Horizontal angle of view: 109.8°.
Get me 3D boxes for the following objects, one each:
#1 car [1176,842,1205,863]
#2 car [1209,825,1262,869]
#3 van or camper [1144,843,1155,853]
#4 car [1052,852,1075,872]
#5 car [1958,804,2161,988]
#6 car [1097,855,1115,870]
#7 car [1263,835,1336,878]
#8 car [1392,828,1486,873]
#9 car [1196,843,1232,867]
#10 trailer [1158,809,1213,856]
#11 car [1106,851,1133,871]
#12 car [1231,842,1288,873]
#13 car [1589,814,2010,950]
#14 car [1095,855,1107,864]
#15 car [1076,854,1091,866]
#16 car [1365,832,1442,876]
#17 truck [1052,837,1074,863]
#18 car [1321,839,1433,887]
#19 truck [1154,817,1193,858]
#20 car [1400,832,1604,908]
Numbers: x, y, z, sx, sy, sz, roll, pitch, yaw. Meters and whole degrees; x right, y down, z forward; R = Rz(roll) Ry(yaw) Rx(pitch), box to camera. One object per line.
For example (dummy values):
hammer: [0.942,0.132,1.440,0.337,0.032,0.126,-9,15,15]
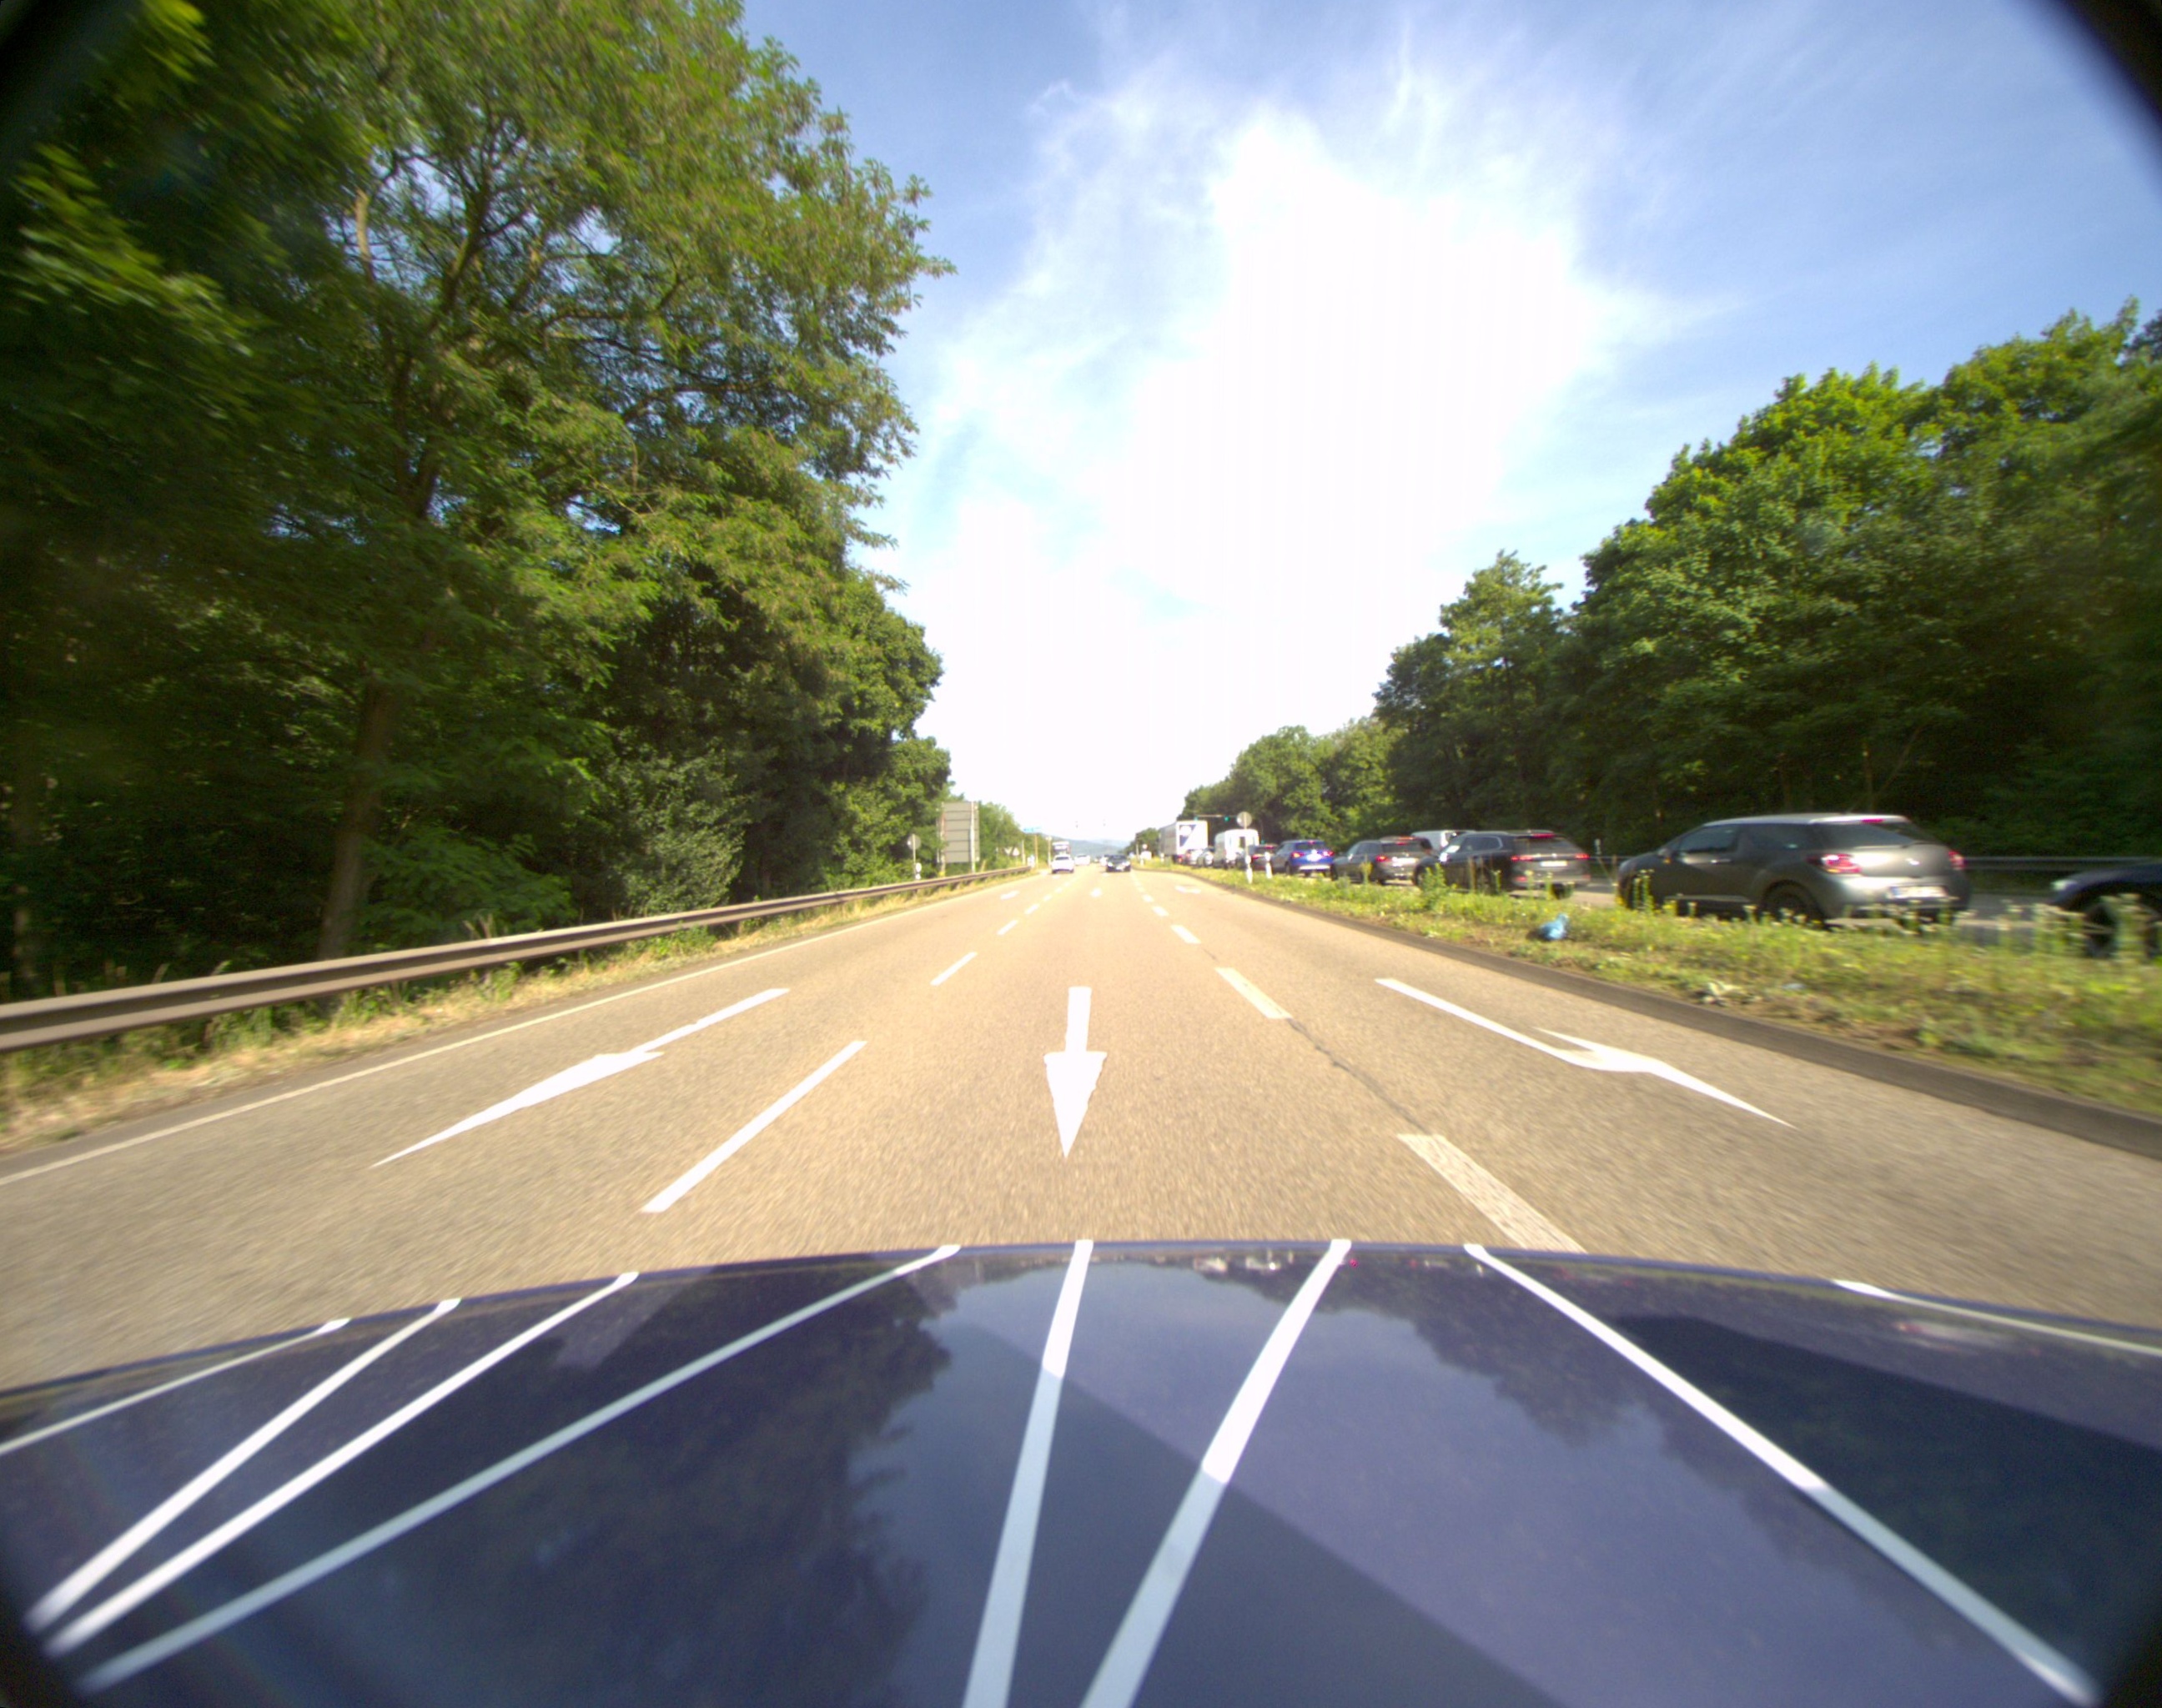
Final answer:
car: [9.018,-0.132,62.785,1.704,1.622,4.370,-2,0,-1]
car: [9.514,-0.411,47.269,2.080,2.519,6.164,-2,0,1]
van or camper: [18.591,-1.584,206.370,2.419,2.695,6.437,0,0,1]
car: [-1.482,0.671,65.362,1.875,1.625,4.833,-2,0,-1]
car: [9.156,0.297,4.578,1.771,1.415,5.193,-2,0,1]
car: [3.028,1.035,92.706,1.998,1.632,4.000,-4,0,0]
car: [9.254,0.088,32.541,1.775,1.659,4.800,-2,0,1]
car: [16.526,-0.154,35.428,2.017,1.924,5.102,1,0,1]
car: [9.596,0.069,55.262,1.704,1.622,4.747,-2,0,-1]
trailer: [9.795,-1.864,73.250,2.999,3.972,14.012,-4,0,0]
car: [3.079,0.521,61.165,1.861,1.452,4.569,-4,0,0]
car: [9.154,0.154,39.344,1.764,1.448,5.186,-2,0,1]
car: [9.100,0.307,10.245,1.711,1.415,4.211,-2,0,1]
car: [4.038,1.126,153.840,1.999,1.632,3.999,-4,0,-2]
car: [0.351,0.945,112.982,1.999,1.632,3.999,-4,0,-2]
car: [13.185,0.009,31.264,1.629,1.696,3.575,1,0,0]
truck: [-2.958,-0.619,131.485,3.197,3.995,14.563,-4,0,0]
car: [9.374,0.270,24.525,1.775,1.371,4.843,-2,0,1]
truck: [9.735,-1.645,80.663,2.898,3.974,6.721,-4,0,-1]
car: [9.210,0.309,17.245,1.775,1.415,5.192,-2,0,1]
